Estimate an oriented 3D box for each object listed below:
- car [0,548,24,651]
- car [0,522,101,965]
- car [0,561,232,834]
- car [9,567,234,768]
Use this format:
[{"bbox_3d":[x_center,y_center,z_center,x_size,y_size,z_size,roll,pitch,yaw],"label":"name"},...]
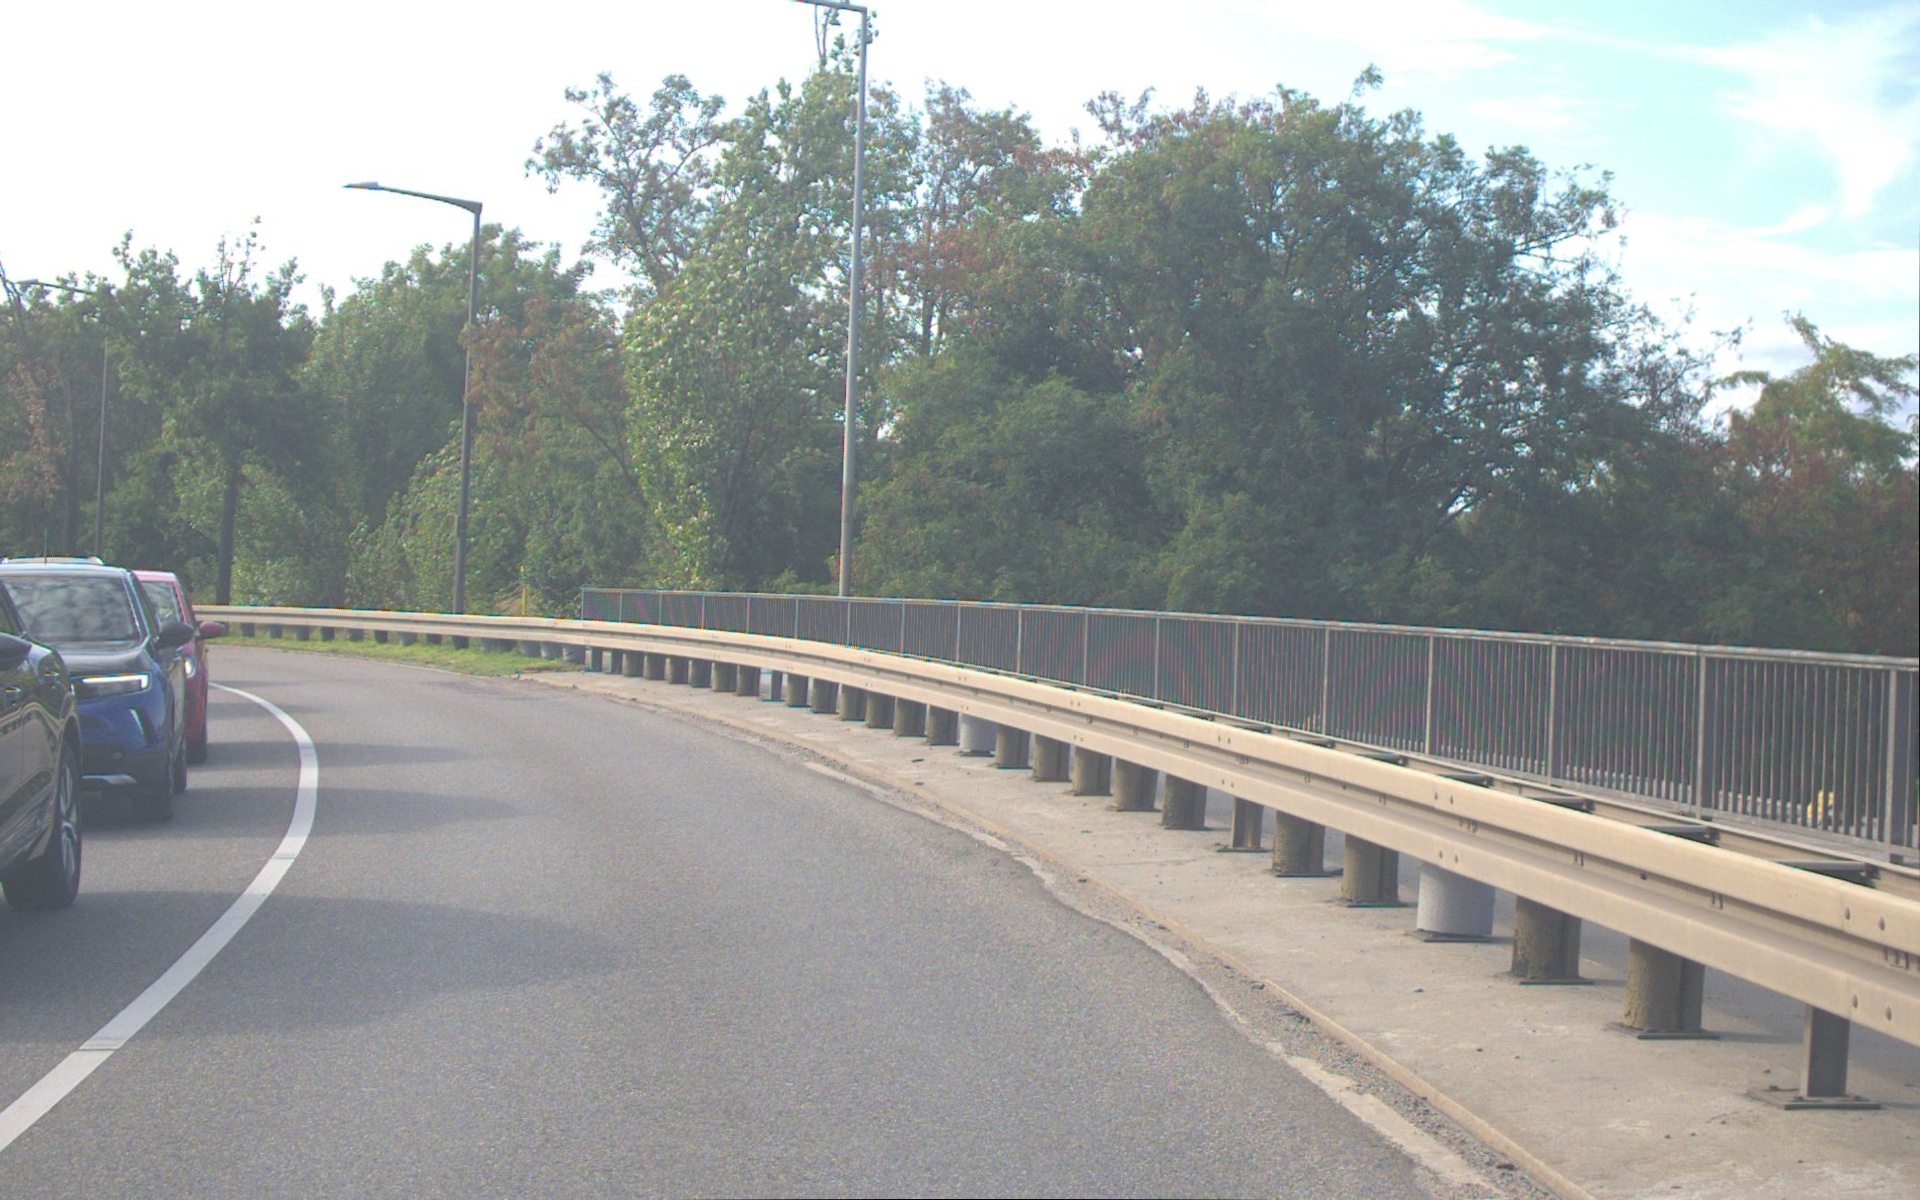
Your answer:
[{"bbox_3d":[-18.427,-0.018,62.689,1.900,1.804,5.405,0,0,-23],"label":"car"},{"bbox_3d":[-4.578,0.537,13.115,1.925,1.643,4.589,-1,1,-7],"label":"car"},{"bbox_3d":[-5.572,0.524,21.135,1.798,1.514,4.009,-1,1,-7],"label":"car"},{"bbox_3d":[-6.566,0.475,27.172,1.598,1.459,3.737,-1,1,-12],"label":"car"}]
